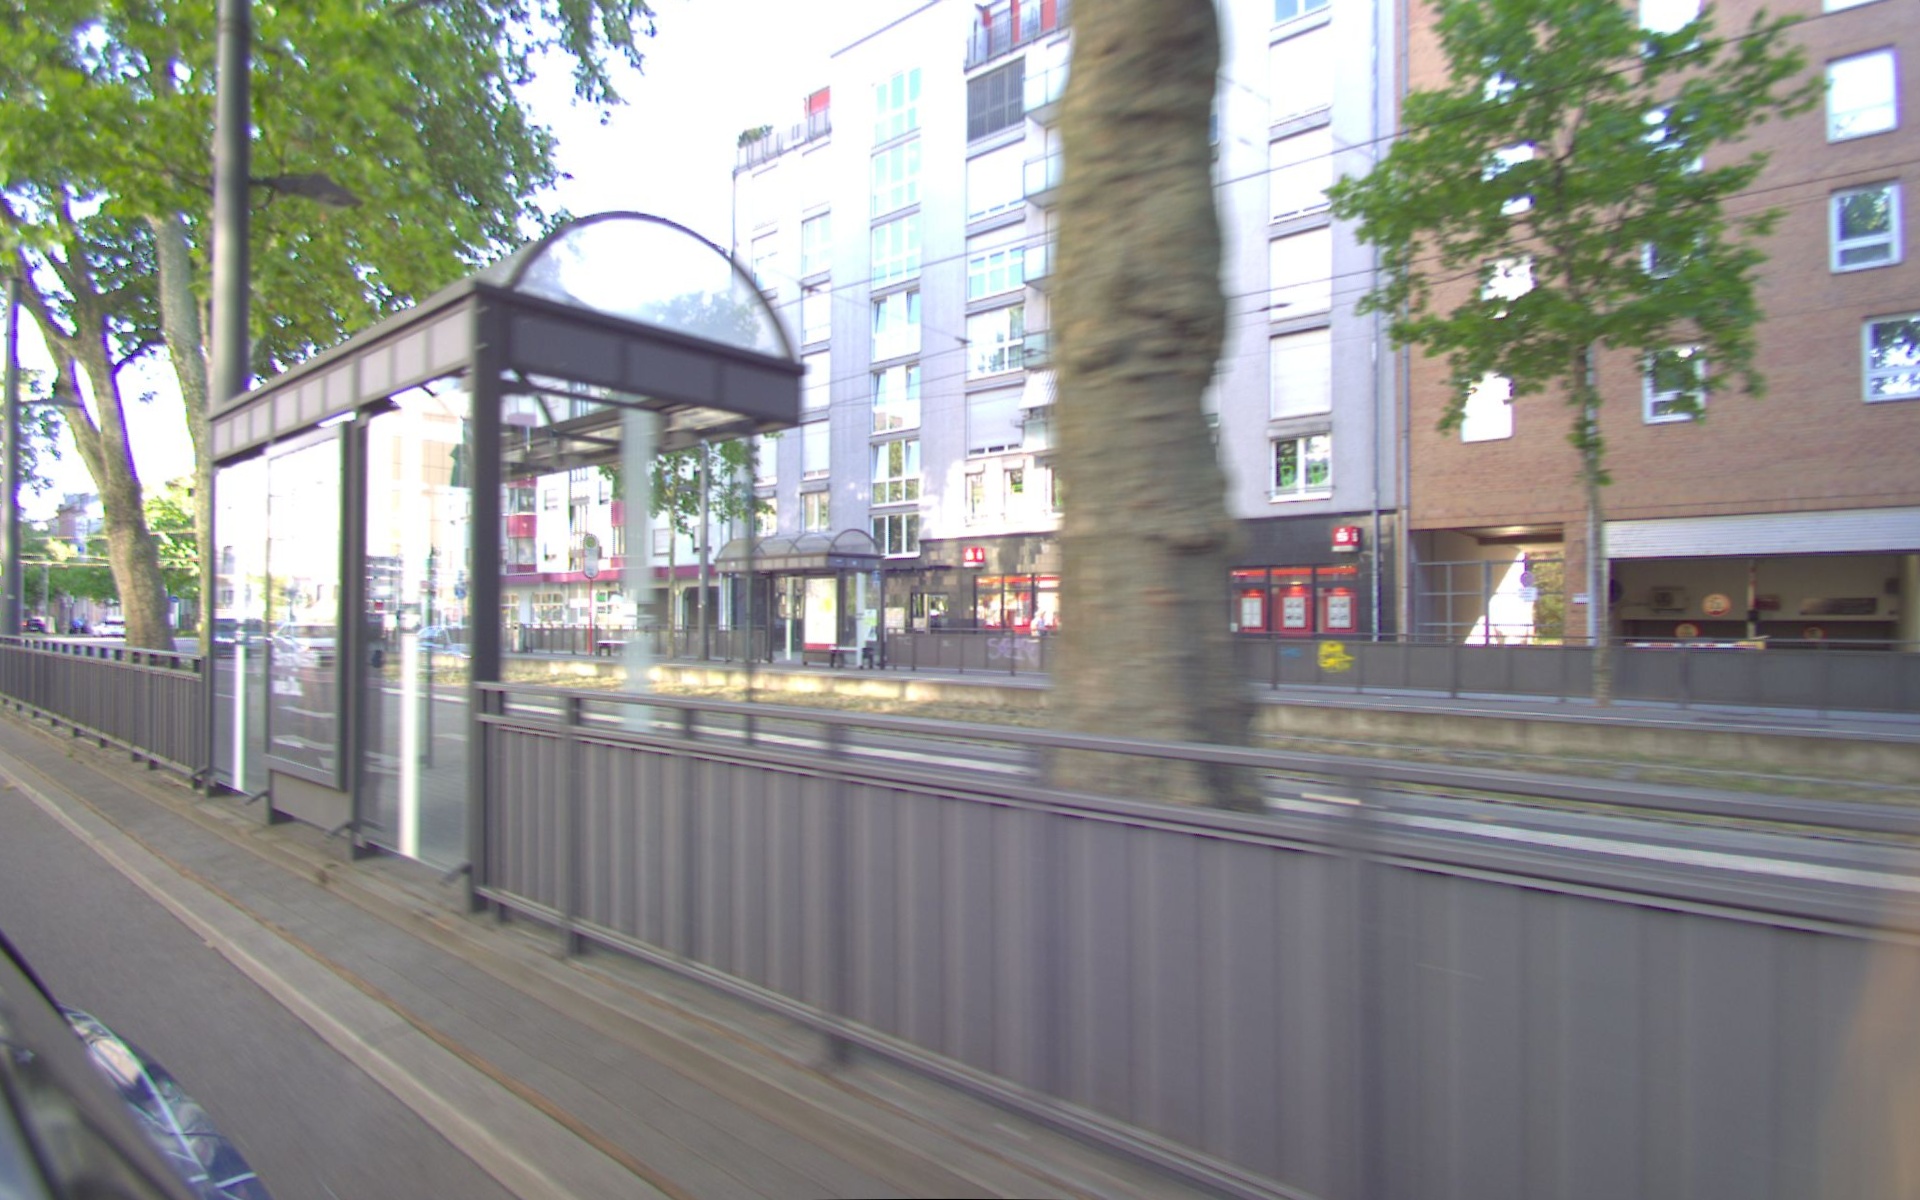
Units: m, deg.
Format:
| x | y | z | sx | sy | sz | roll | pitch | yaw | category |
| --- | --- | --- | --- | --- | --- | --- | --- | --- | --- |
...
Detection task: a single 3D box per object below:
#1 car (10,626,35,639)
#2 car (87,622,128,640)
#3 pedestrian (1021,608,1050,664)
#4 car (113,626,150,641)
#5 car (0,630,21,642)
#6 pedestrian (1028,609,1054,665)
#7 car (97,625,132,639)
| x | y | z | sx | sy | sz | roll | pitch | yaw | category |
| --- | --- | --- | --- | --- | --- | --- | --- | --- | --- |
| -120.230 | 4.157 | 129.785 | 3.997 | 1.573 | 1.871 | -1 | -2 | 41 | car |
| -70.658 | 2.569 | 83.863 | 3.997 | 1.475 | 1.973 | -1 | -2 | 40 | car |
| 2.484 | 1.167 | 33.233 | 0.784 | 1.784 | 0.497 | 0 | 0 | 40 | pedestrian |
| -75.000 | 3.000 | 91.600 | 3.997 | 1.276 | 1.871 | -1 | -2 | 41 | car |
| -128.895 | 4.830 | 137.214 | 3.997 | 1.573 | 1.871 | -1 | -2 | 41 | car |
| 2.594 | 1.171 | 32.447 | 0.628 | 1.784 | 0.497 | 0 | 0 | 40 | pedestrian |
| -80.174 | 3.022 | 95.948 | 3.997 | 1.276 | 1.871 | -1 | -2 | 41 | car |
